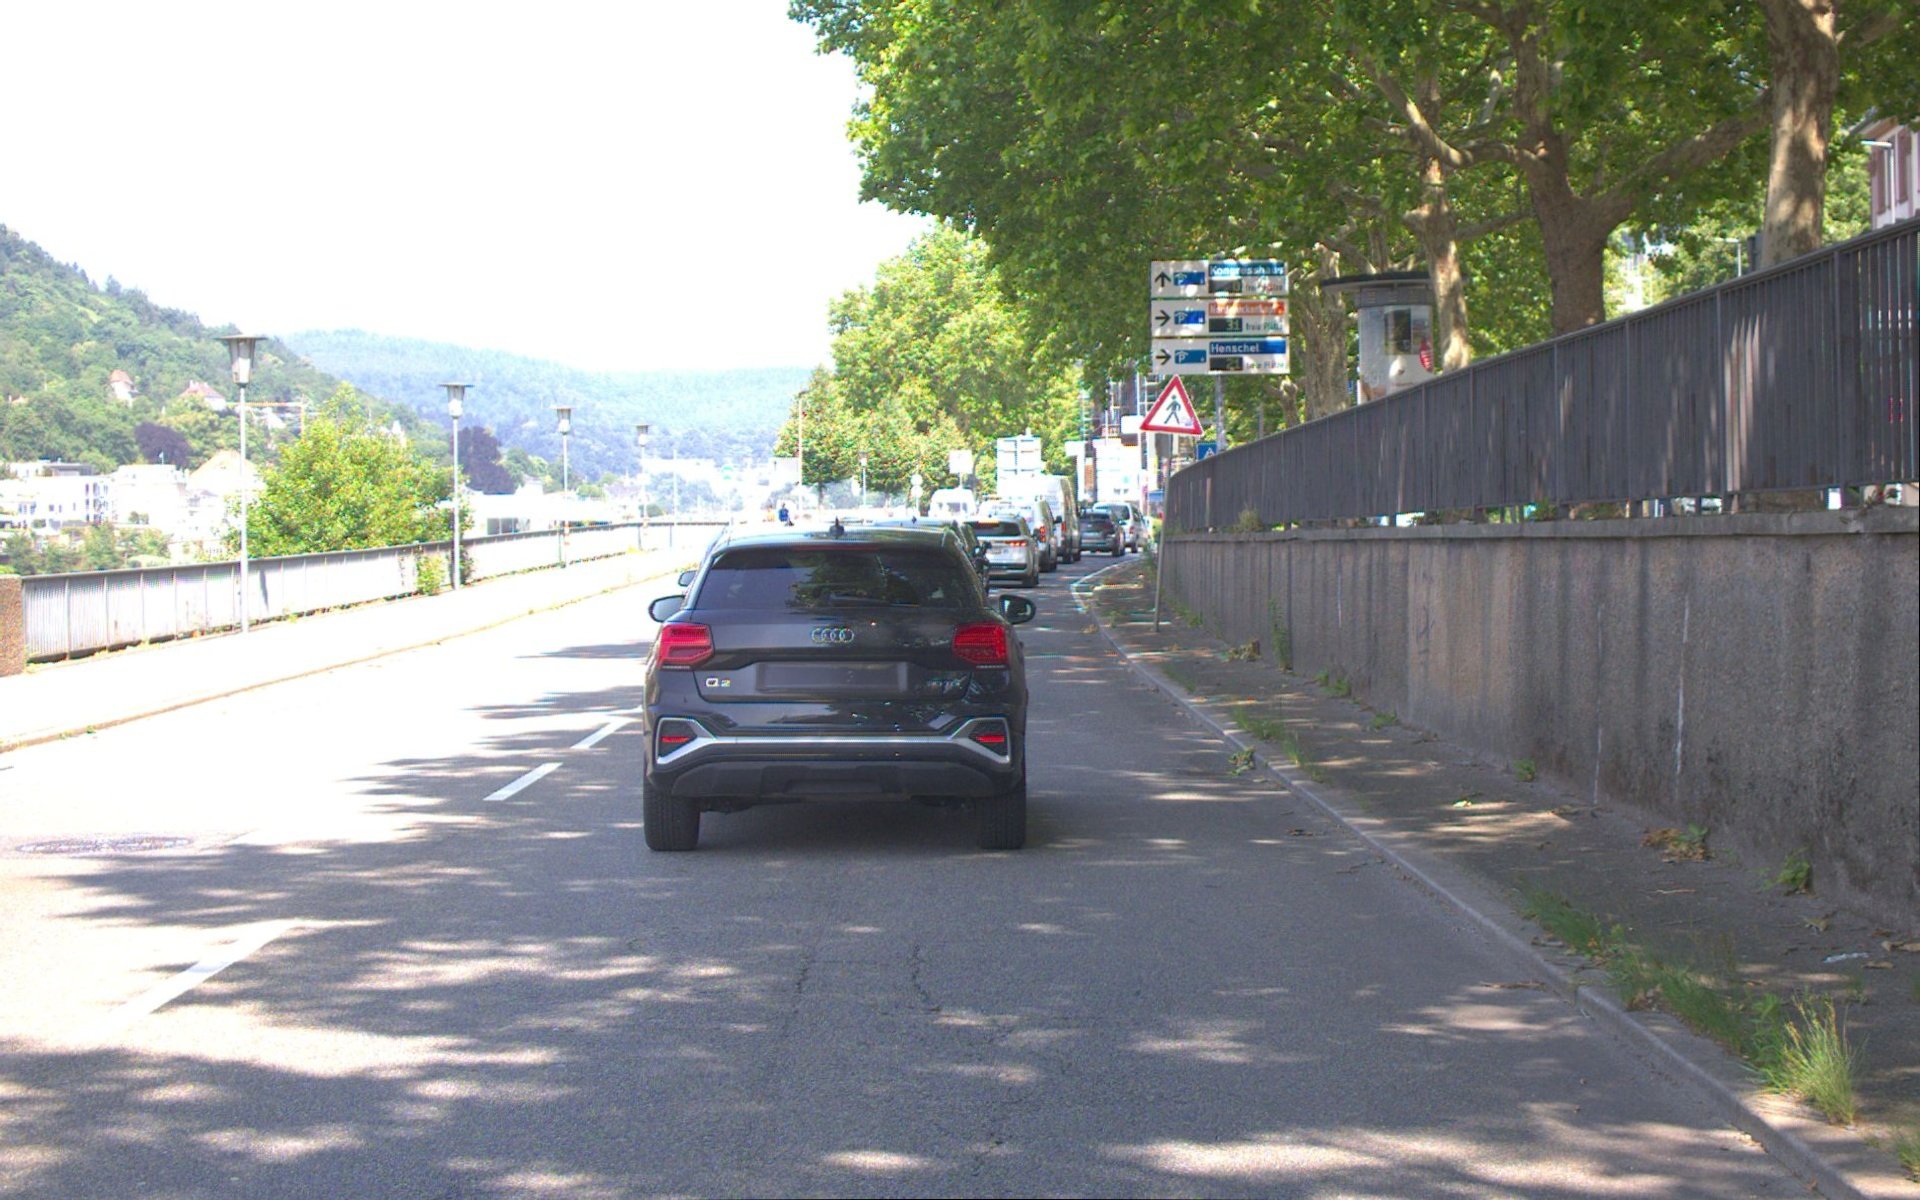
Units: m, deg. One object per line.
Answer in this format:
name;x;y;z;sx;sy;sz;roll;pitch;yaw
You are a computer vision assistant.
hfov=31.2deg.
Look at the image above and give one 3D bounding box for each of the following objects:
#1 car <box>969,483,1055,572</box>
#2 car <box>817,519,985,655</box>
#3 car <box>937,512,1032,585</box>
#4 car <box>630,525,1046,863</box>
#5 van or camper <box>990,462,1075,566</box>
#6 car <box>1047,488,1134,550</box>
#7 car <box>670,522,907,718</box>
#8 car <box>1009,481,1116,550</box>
car;1.314;-1.856;87.964;1.993;2.162;4.000;-2;1;-1
car;-0.683;-0.191;39.440;1.828;1.481;4.000;0;1;-1
car;0.474;-1.071;70.454;1.828;1.439;4.000;0;1;-1
car;-0.574;0.374;17.162;1.828;1.481;4.000;0;1;-1
van or camper;2.080;-2.472;99.166;2.310;2.837;4.246;-2;1;1
car;4.633;-2.894;122.849;2.661;2.006;5.825;-3;1;-1
car;-1.361;0.107;28.511;1.828;1.506;4.000;0;1;-1
car;3.311;-2.766;112.582;3.098;2.006;5.825;-3;1;-1
